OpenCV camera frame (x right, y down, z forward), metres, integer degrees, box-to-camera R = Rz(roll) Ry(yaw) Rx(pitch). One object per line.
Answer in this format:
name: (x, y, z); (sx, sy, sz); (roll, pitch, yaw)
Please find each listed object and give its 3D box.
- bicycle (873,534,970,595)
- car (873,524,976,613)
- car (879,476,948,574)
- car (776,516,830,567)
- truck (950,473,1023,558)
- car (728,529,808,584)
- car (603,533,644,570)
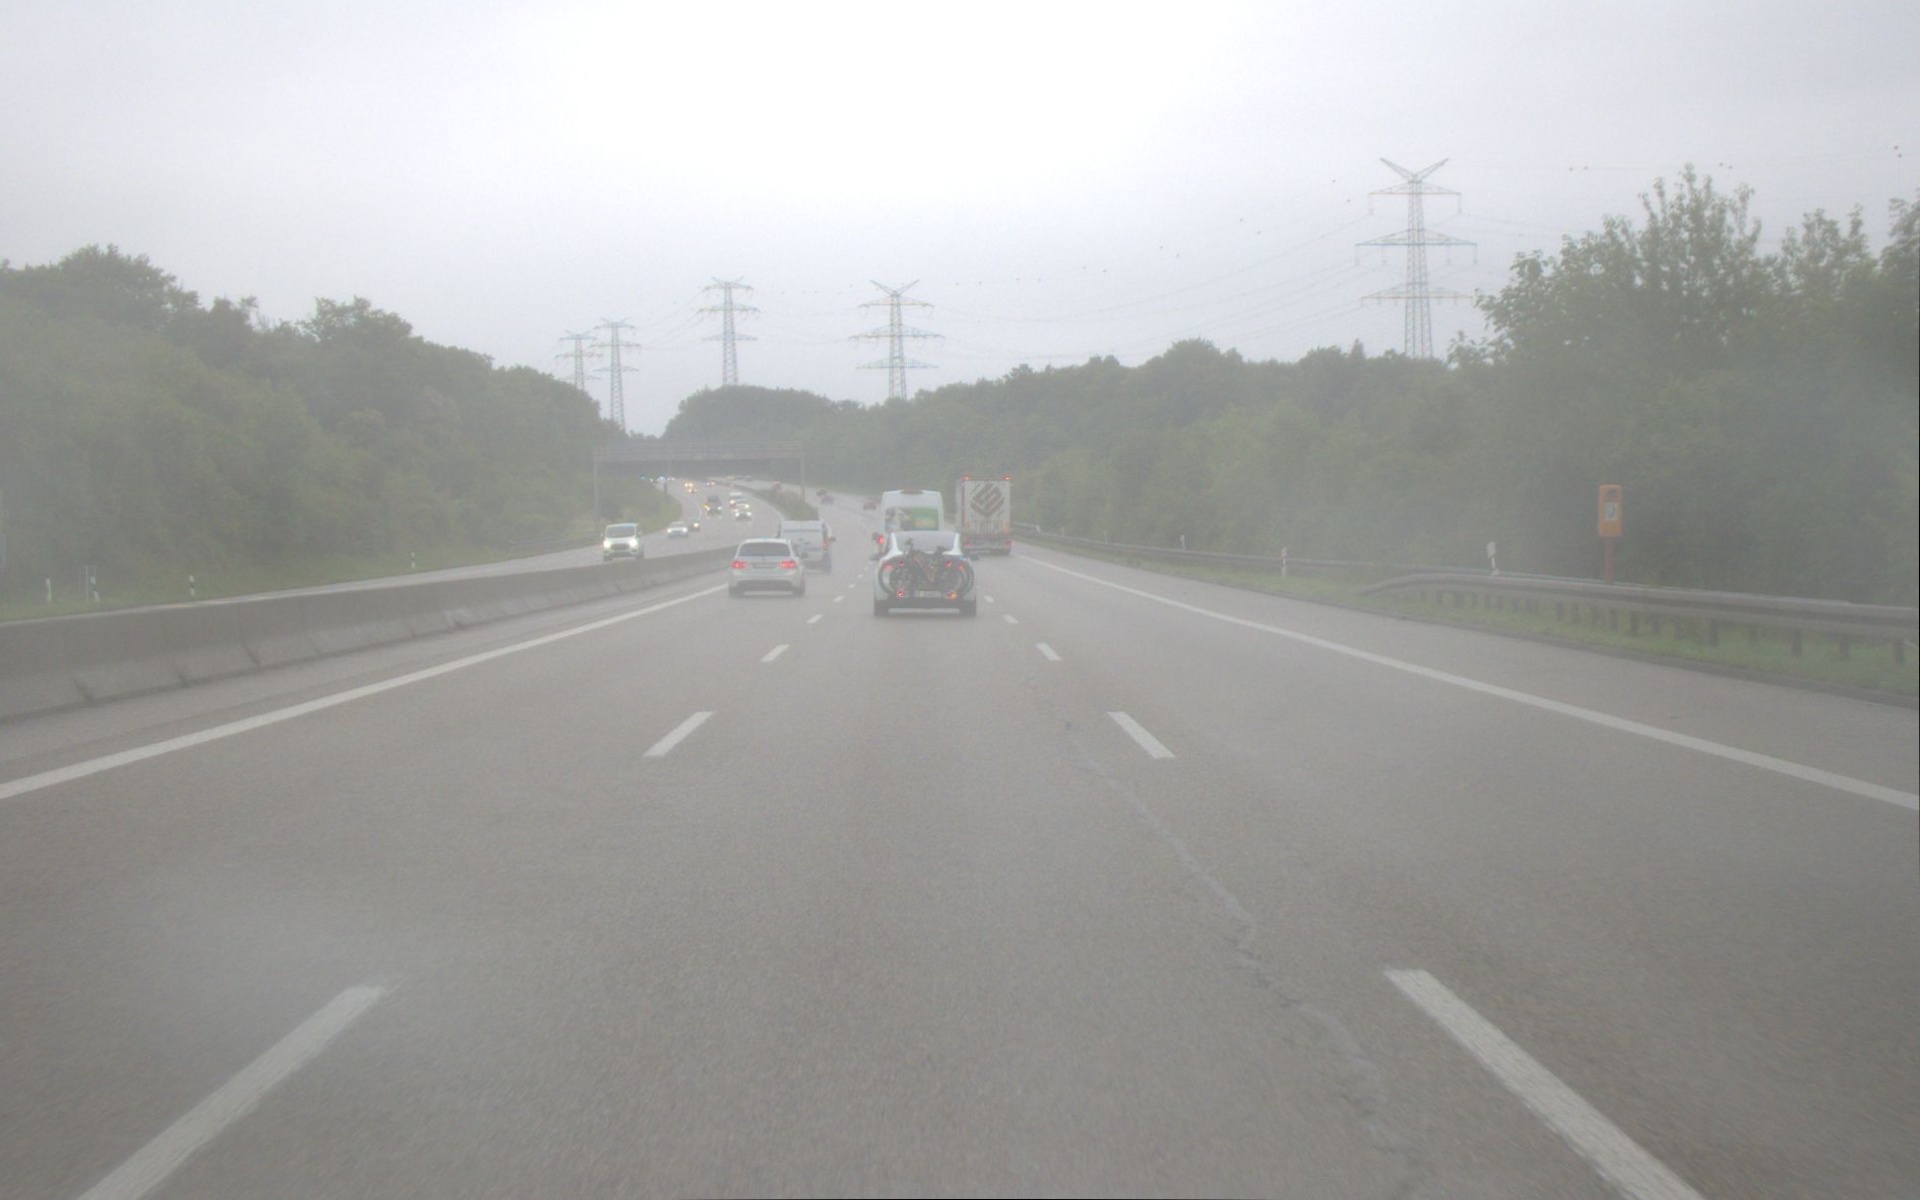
bicycle: (-0.700, -0.647, 62.240); (1.753, 1.087, 0.914); (0, 1, -1)
car: (-0.715, -0.623, 65.182); (1.860, 1.562, 4.965); (0, 2, -1)
car: (-1.382, -2.237, 103.461); (1.993, 2.854, 4.000); (1, 0, -1)
car: (-5.506, -2.066, 120.959); (1.846, 1.766, 4.000); (0, 1, -2)
truck: (1.316, -4.425, 182.374); (3.603, 4.317, 13.200); (0, 1, -1)
car: (-4.621, -1.053, 83.243); (1.866, 1.284, 4.000); (0, 1, -2)
car: (-18.528, -2.686, 189.351); (1.993, 2.007, 5.762); (0, 1, -3)
